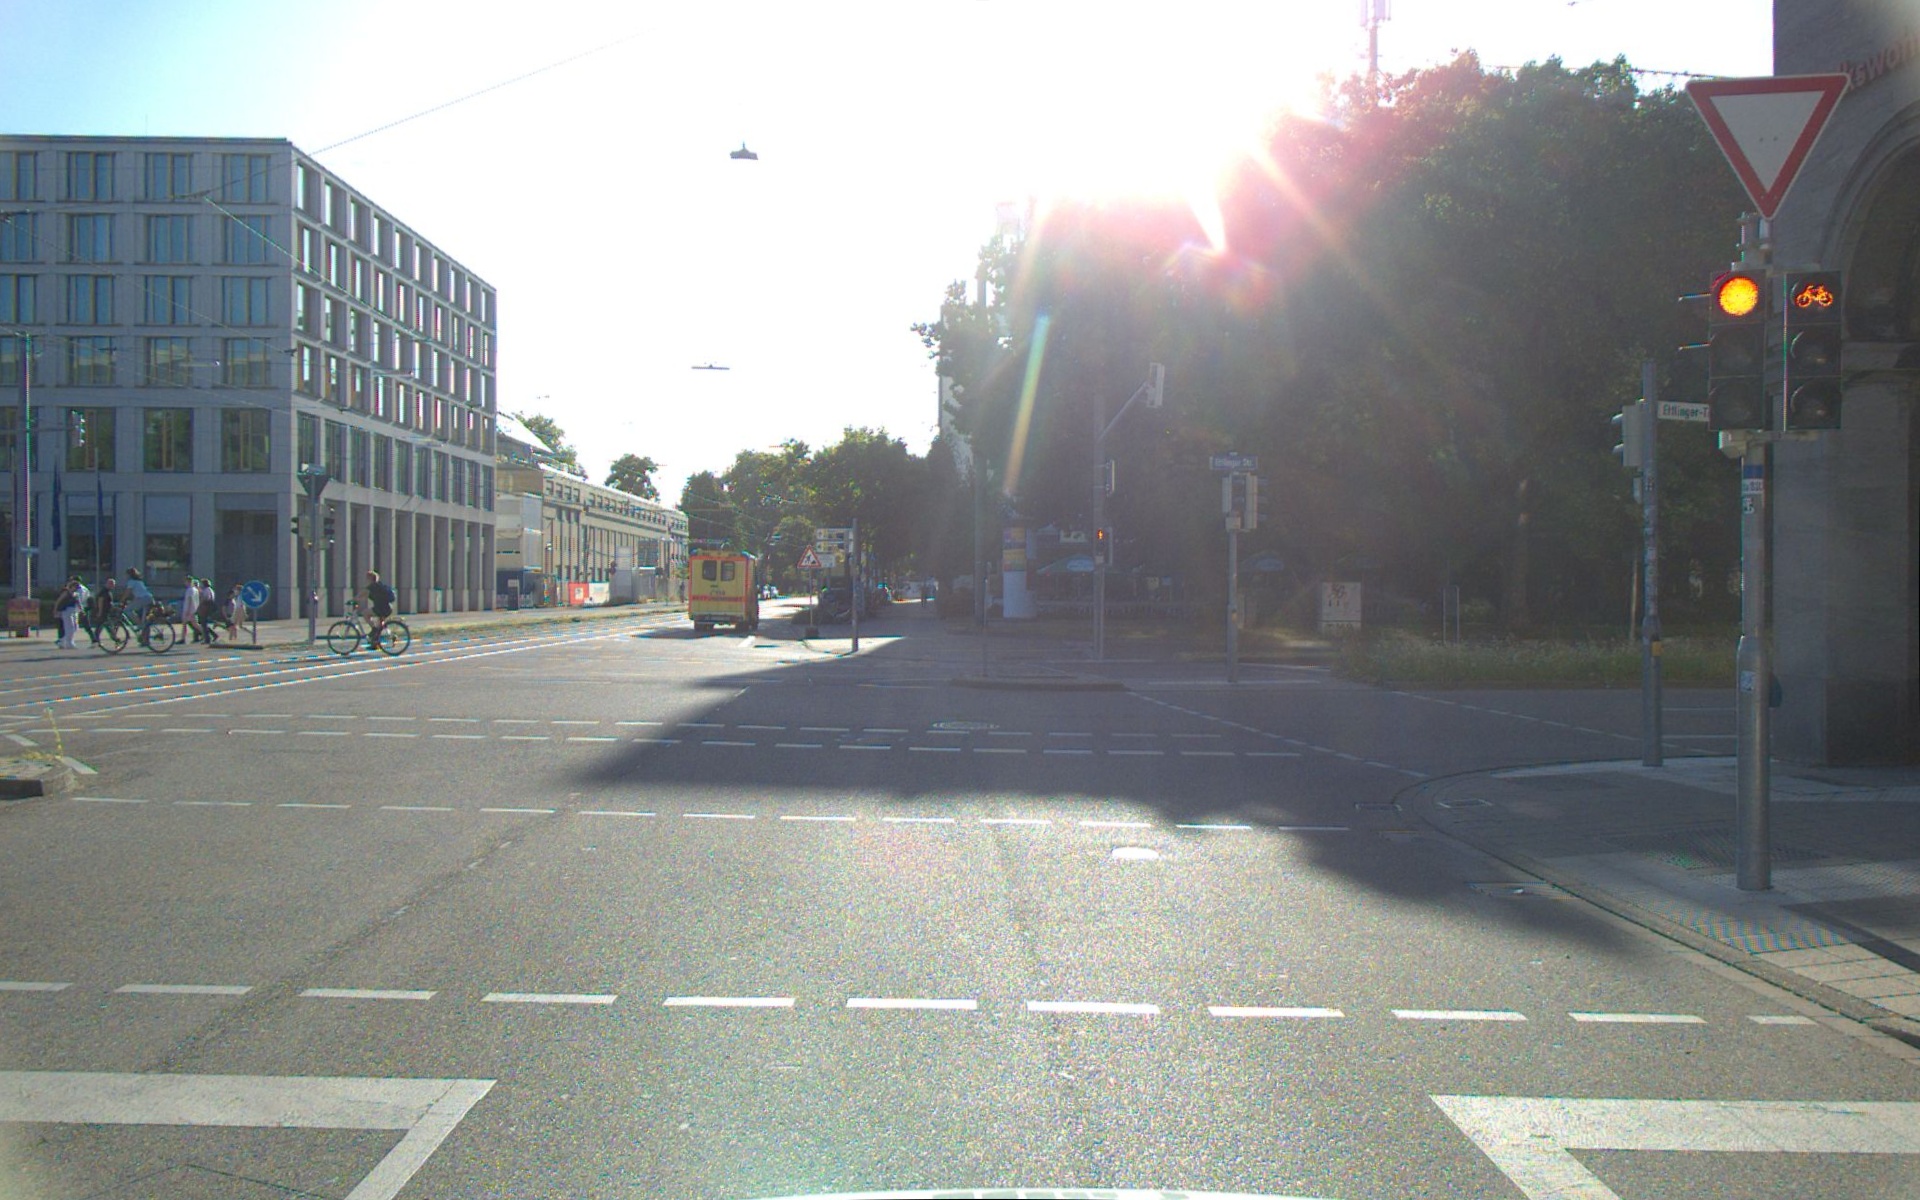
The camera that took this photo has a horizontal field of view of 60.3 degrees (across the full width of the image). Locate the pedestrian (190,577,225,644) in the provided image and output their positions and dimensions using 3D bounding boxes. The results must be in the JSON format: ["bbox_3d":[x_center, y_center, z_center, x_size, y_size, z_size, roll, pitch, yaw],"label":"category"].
[{"bbox_3d":[-20.752,0.286,45.623,0.723,1.835,0.532,0,0,4],"label":"pedestrian"}]

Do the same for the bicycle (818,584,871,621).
[{"bbox_3d":[-5.653,0.112,81.288,2.495,1.774,1.037,1,0,-1],"label":"bicycle"}]

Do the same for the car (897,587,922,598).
[{"bbox_3d":[-6.449,-0.922,211.085,3.153,1.285,1.372,1,0,-2],"label":"car"}]

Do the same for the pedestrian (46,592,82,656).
[{"bbox_3d":[-23.535,0.632,43.471,0.682,1.673,0.619,0,0,-13],"label":"pedestrian"}]

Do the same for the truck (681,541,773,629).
[{"bbox_3d":[-8.497,-0.525,60.879,2.662,3.068,6.487,0,0,-2],"label":"truck"}]

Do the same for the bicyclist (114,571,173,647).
[{"bbox_3d":[-17.331,0.188,35.115,0.955,1.587,0.574,0,0,-1],"label":"bicyclist"}]

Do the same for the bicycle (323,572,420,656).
[{"bbox_3d":[-12.492,0.285,35.137,1.862,1.765,0.596,0,0,-9],"label":"bicycle"}]

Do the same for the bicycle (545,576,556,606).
[{"bbox_3d":[-32.092,-0.740,129.745,0.559,2.336,1.422,0,0,-2],"label":"bicycle"}]

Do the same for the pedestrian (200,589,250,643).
[{"bbox_3d":[-18.565,0.393,41.786,0.975,1.340,0.765,0,0,-10],"label":"pedestrian"}]

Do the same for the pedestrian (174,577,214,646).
[{"bbox_3d":[-20.602,0.306,44.497,0.723,1.835,0.716,0,0,4],"label":"pedestrian"}]

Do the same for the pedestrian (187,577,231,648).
[{"bbox_3d":[-19.748,0.328,43.499,0.852,1.835,0.664,0,0,4],"label":"pedestrian"}]

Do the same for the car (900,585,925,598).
[{"bbox_3d":[-6.116,-1.132,213.344,3.152,1.616,1.445,1,0,-5],"label":"car"}]

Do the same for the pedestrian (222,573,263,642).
[{"bbox_3d":[-19.276,0.199,44.413,0.851,1.835,0.532,0,0,4],"label":"pedestrian"}]

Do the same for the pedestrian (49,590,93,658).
[{"bbox_3d":[-22.341,0.597,41.582,0.777,1.673,0.620,0,0,-5],"label":"pedestrian"}]

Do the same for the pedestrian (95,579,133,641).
[{"bbox_3d":[-22.988,0.261,44.950,0.679,1.673,0.622,0,0,6],"label":"pedestrian"}]

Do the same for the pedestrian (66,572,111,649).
[{"bbox_3d":[-22.498,0.268,42.710,0.785,1.951,0.637,0,0,4],"label":"pedestrian"}]

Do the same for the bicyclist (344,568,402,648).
[{"bbox_3d":[-12.468,0.168,35.144,1.054,1.669,0.596,0,0,-9],"label":"bicyclist"}]

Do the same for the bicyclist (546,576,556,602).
[{"bbox_3d":[-32.087,-0.860,129.750,0.559,2.059,0.761,0,0,-2],"label":"bicyclist"}]

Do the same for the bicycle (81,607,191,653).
[{"bbox_3d":[-17.491,0.632,35.132,2.023,0.949,0.574,0,0,-1],"label":"bicycle"}]
